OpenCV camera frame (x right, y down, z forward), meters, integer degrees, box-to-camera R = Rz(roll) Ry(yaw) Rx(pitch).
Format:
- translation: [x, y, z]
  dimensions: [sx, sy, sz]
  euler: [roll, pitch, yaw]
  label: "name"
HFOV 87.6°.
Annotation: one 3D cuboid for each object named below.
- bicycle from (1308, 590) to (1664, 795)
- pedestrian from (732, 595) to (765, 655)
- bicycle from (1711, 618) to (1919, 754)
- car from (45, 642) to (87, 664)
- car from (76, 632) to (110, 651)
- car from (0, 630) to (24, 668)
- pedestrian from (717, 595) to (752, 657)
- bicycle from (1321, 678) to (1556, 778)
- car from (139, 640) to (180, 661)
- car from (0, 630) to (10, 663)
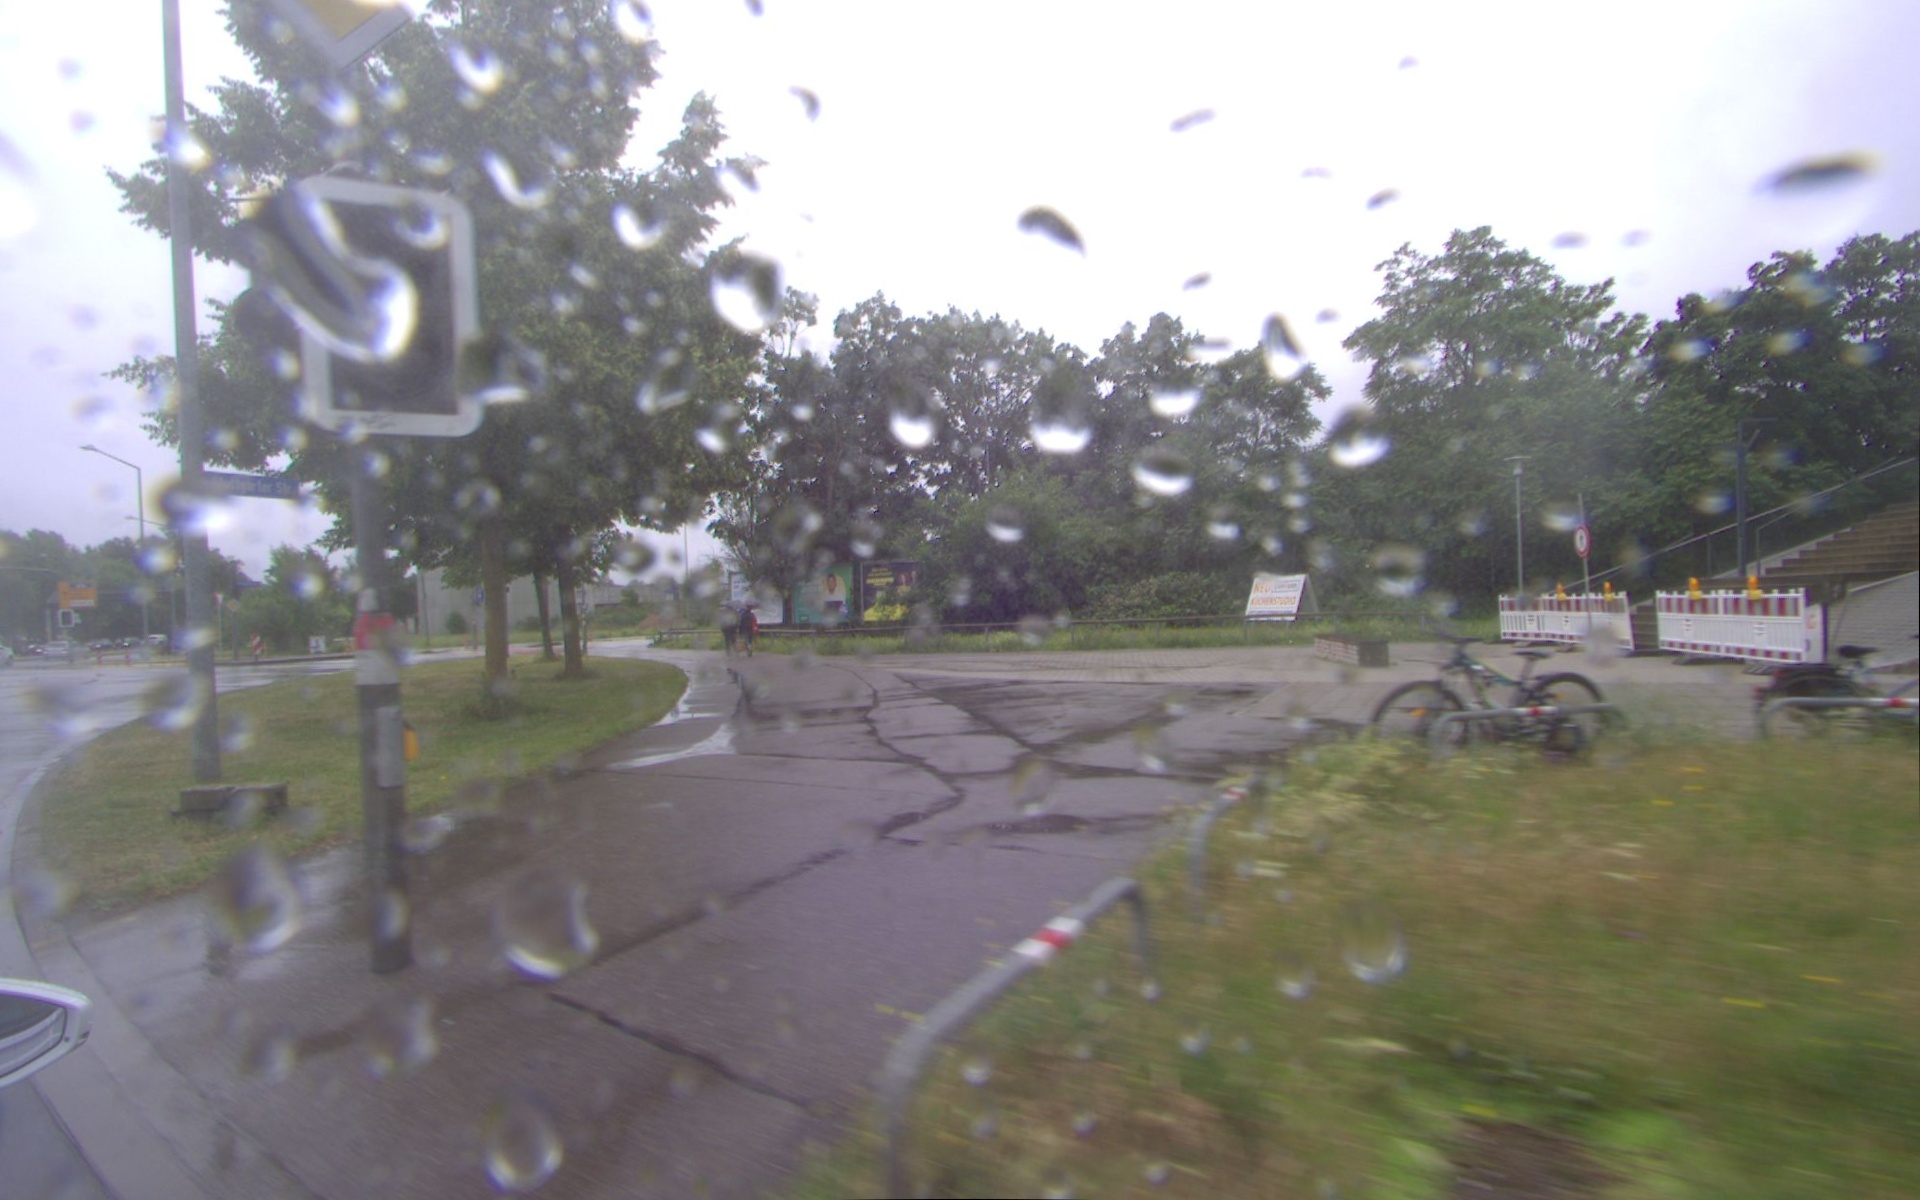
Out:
- translation: [3.537, 0.557, 6.685]
  dimensions: [2.481, 1.205, 0.552]
  euler: [-1, 0, -19]
  label: "bicycle"
- translation: [-6.581, 0.785, 31.135]
  dimensions: [0.906, 1.806, 0.808]
  euler: [-1, -2, -5]
  label: "pedestrian"
- translation: [6.374, 0.557, 6.644]
  dimensions: [2.130, 0.858, 0.634]
  euler: [-1, 0, 27]
  label: "bicycle"
- translation: [-68.429, 4.013, 76.652]
  dimensions: [1.669, 1.511, 3.235]
  euler: [-1, 0, -29]
  label: "car"
- translation: [-95.591, 4.597, 110.485]
  dimensions: [1.765, 2.039, 3.664]
  euler: [0, -3, -23]
  label: "car"
- translation: [-47.801, 2.414, 49.435]
  dimensions: [1.767, 1.834, 4.802]
  euler: [-2, 0, -37]
  label: "car"
- translation: [-6.736, 0.791, 29.985]
  dimensions: [0.906, 1.806, 0.808]
  euler: [-1, -2, -5]
  label: "pedestrian"
- translation: [3.361, 0.871, 6.999]
  dimensions: [1.772, 0.566, 0.320]
  euler: [-1, 0, -19]
  label: "bicycle"
- translation: [-62.906, 3.925, 78.733]
  dimensions: [1.666, 1.511, 3.241]
  euler: [-1, 0, -22]
  label: "car"
- translation: [-59.525, 2.836, 60.701]
  dimensions: [1.762, 2.061, 3.984]
  euler: [0, -3, -28]
  label: "car"
